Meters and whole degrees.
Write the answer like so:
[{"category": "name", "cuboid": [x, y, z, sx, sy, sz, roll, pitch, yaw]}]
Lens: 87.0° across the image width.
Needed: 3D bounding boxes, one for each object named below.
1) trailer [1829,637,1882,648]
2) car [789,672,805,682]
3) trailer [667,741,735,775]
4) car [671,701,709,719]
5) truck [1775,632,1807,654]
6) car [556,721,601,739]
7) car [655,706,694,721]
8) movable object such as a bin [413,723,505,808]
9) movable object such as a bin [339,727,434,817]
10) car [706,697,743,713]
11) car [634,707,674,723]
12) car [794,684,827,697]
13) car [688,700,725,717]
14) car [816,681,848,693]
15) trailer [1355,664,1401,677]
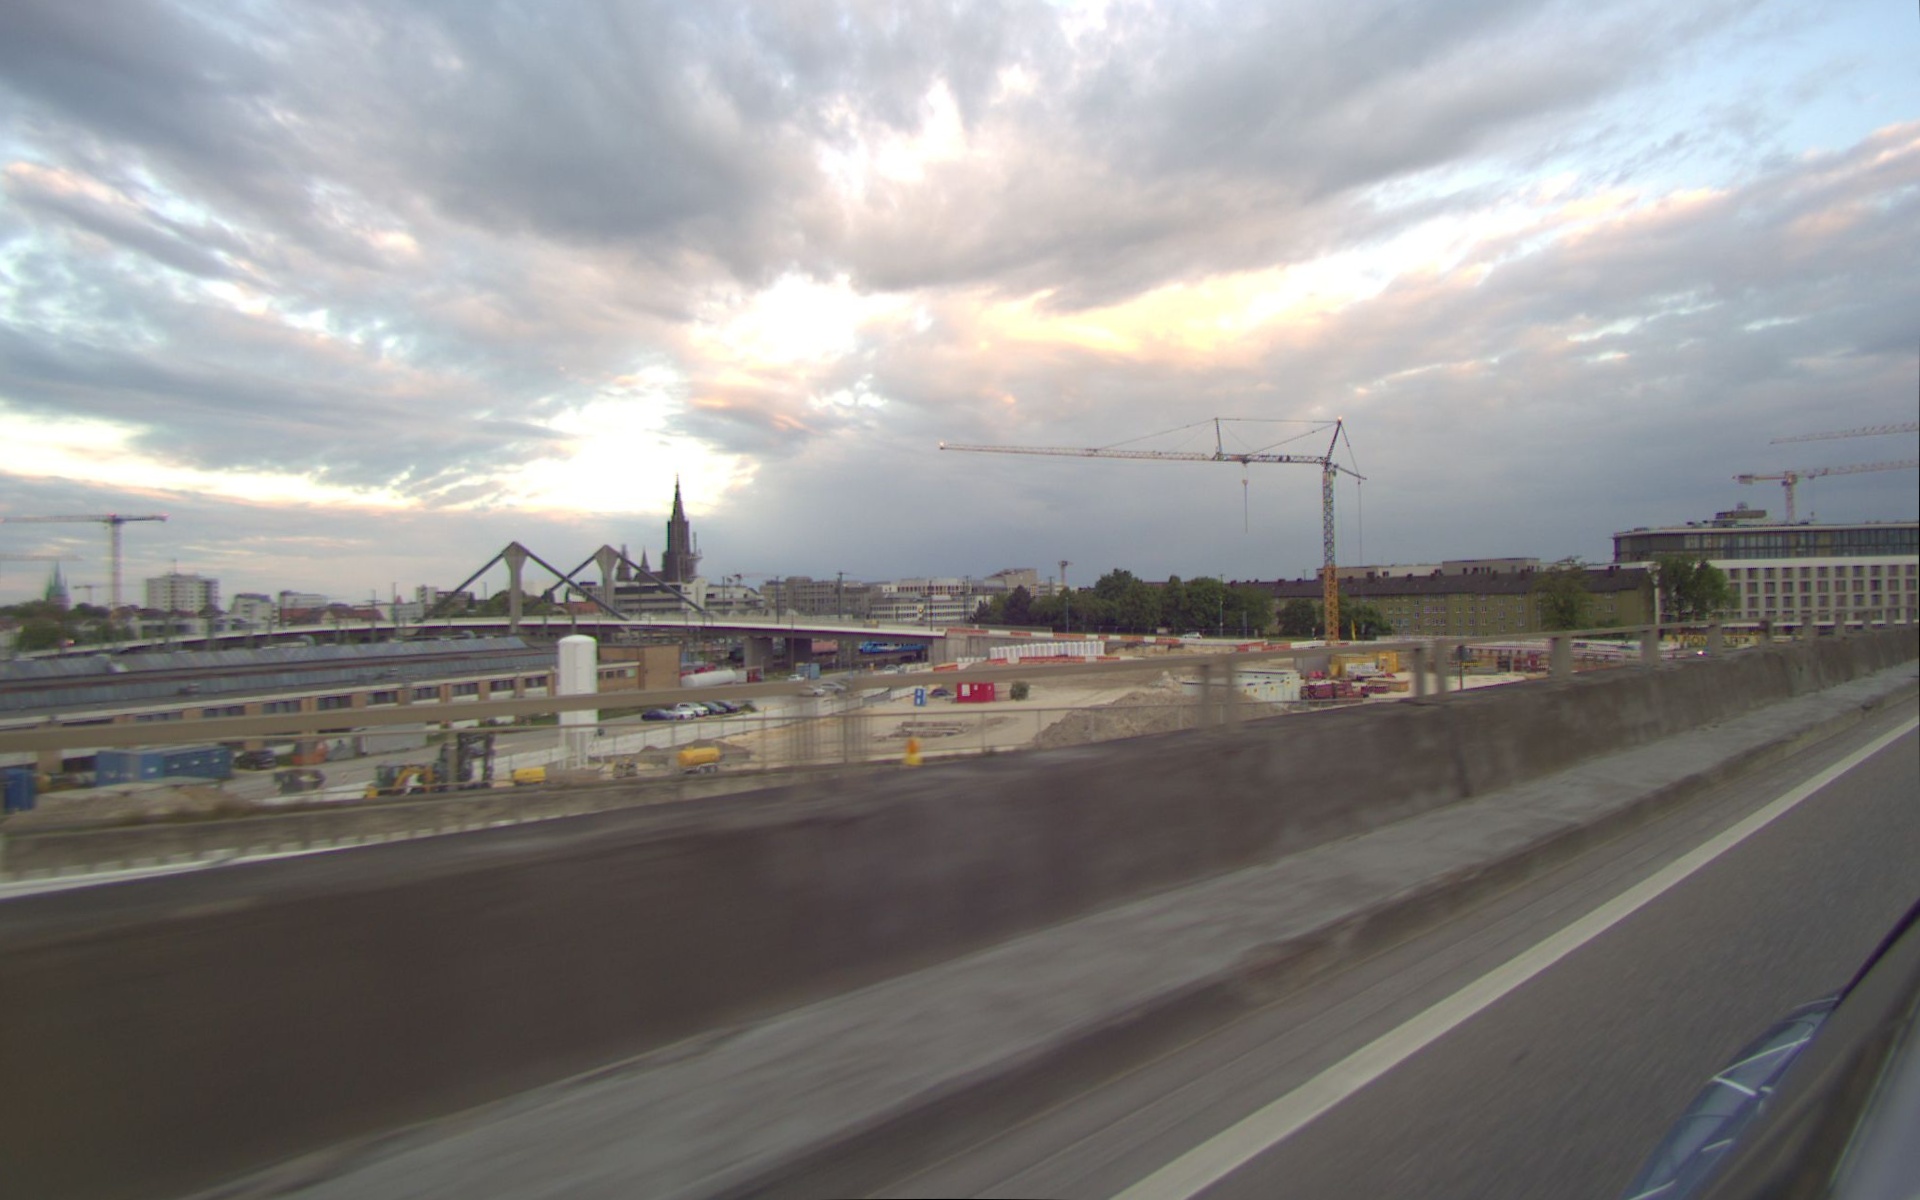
[{"category": "trailer", "cuboid": [135.191, 6.390, 152.863, 5.838, 1.365, 2.000, -1, 0, 37]}, {"category": "car", "cuboid": [-27.092, 12.748, 167.978, 1.416, 1.597, 3.670, -6, -5, 10]}, {"category": "trailer", "cuboid": [-17.047, 10.391, 66.674, 3.781, 1.828, 1.993, 1, -7, -45]}, {"category": "car", "cuboid": [-31.723, 12.942, 118.890, 3.950, 1.738, 1.857, -7, -6, 20]}, {"category": "truck", "cuboid": [121.904, 6.339, 148.457, 7.207, 2.987, 2.160, 1, -4, -40]}, {"category": "car", "cuboid": [-38.583, 13.121, 102.301, 3.950, 1.439, 1.857, -7, -6, 20]}, {"category": "car", "cuboid": [-32.784, 13.005, 116.082, 3.950, 1.439, 1.857, -7, -6, 20]}, {"category": "movable object such as a bin", "cuboid": [-28.581, 9.402, 57.688, 4.927, 4.368, 2.746, -9, -7, 37]}, {"category": "movable object such as a bin", "cuboid": [-31.019, 9.269, 54.679, 4.927, 4.368, 2.746, -9, -7, 37]}, {"category": "car", "cuboid": [-28.862, 12.882, 124.010, 3.950, 1.674, 1.857, -7, -6, 20]}, {"category": "car", "cuboid": [-34.335, 12.898, 113.657, 3.950, 1.439, 1.857, -7, -6, 20]}, {"category": "car", "cuboid": [-21.460, 12.935, 144.963, 4.283, 1.540, 1.861, -3, -1, 17]}, {"category": "car", "cuboid": [-30.367, 12.988, 121.289, 3.950, 1.674, 1.857, -7, -6, 20]}, {"category": "car", "cuboid": [-18.913, 12.861, 149.753, 4.283, 1.540, 1.861, -3, -1, 17]}, {"category": "trailer", "cuboid": [44.302, 7.456, 107.370, 4.165, 1.257, 1.786, -1, -2, -10]}]
